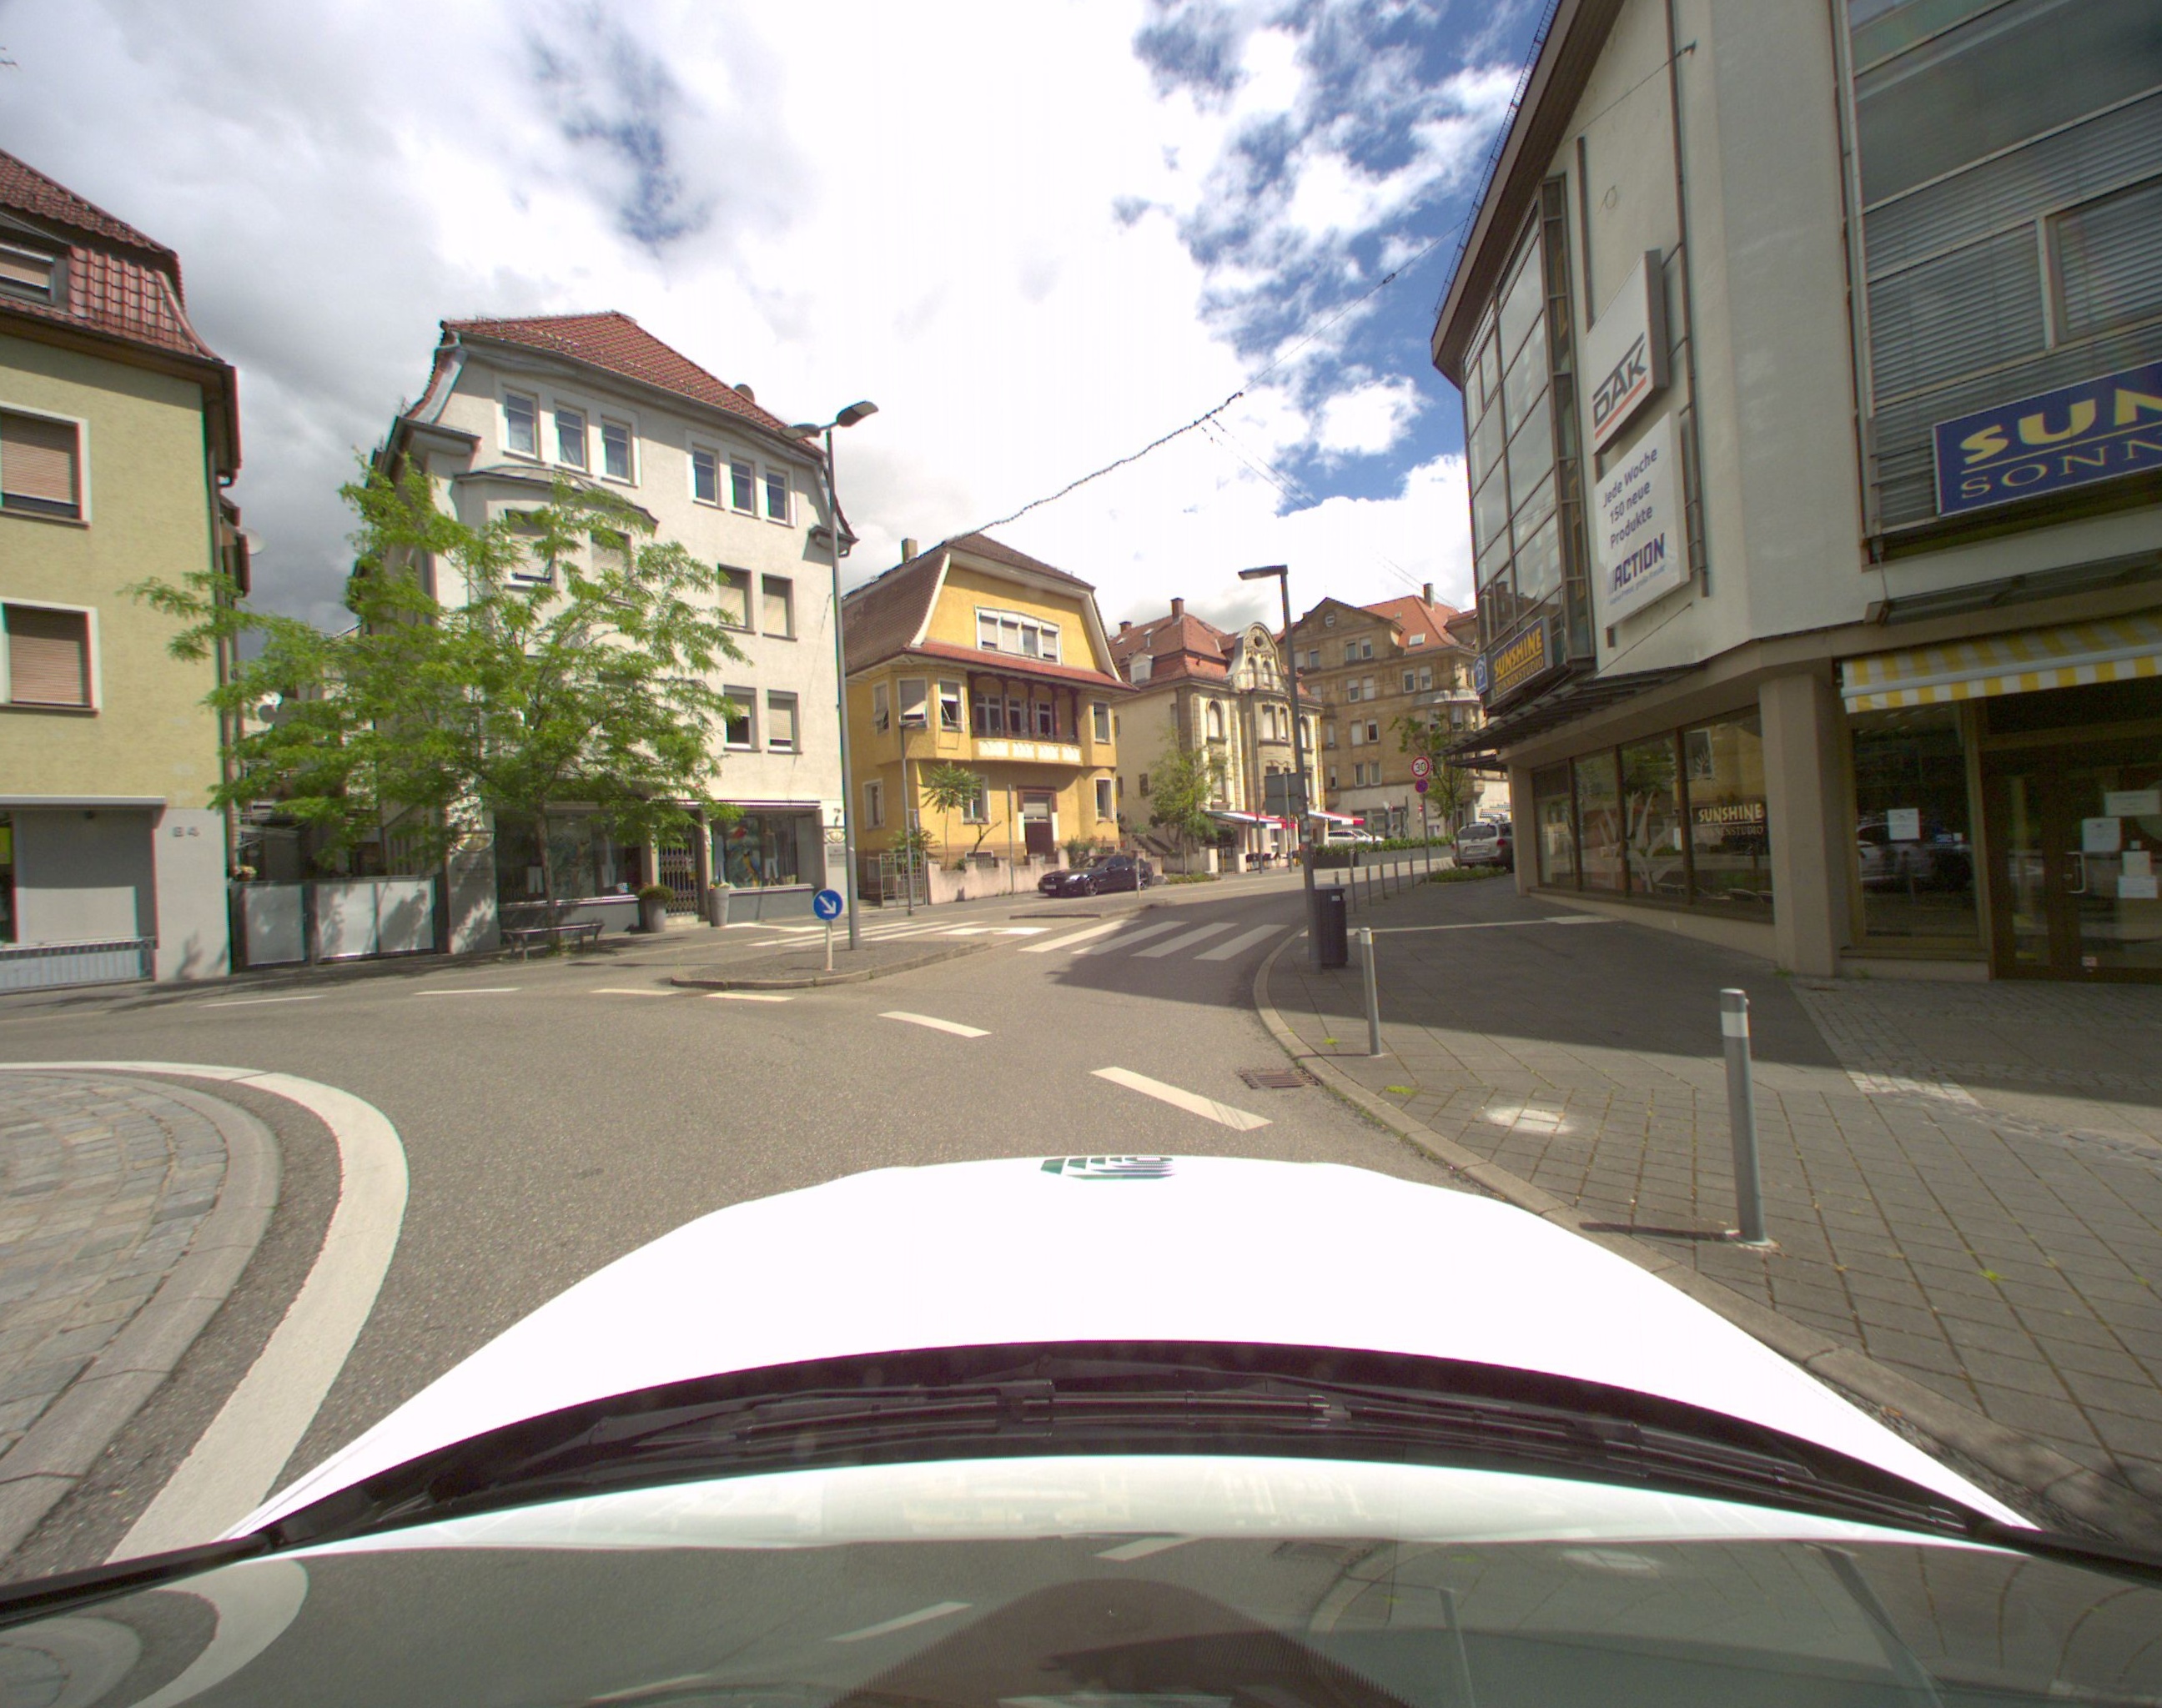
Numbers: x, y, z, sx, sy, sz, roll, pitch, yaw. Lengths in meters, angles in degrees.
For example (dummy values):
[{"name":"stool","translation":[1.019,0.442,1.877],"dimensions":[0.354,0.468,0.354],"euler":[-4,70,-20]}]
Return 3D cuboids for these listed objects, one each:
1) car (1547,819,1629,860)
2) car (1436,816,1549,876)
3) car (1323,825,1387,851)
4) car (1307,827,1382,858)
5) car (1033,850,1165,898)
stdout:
[{"name":"car","translation":[22.044,-0.641,35.350],"dimensions":[4.256,1.519,1.808],"euler":[-3,-1,-41]},{"name":"car","translation":[13.842,-0.290,27.276],"dimensions":[4.256,1.731,1.808],"euler":[-3,-1,-41]},{"name":"car","translation":[20.097,-1.146,59.834],"dimensions":[3.948,1.662,1.921],"euler":[-3,0,41]},{"name":"car","translation":[17.633,-0.773,54.465],"dimensions":[4.376,1.775,2.013],"euler":[-3,0,30]},{"name":"car","translation":[0.680,0.593,27.111],"dimensions":[4.437,1.245,1.694],"euler":[-4,3,-43]}]
